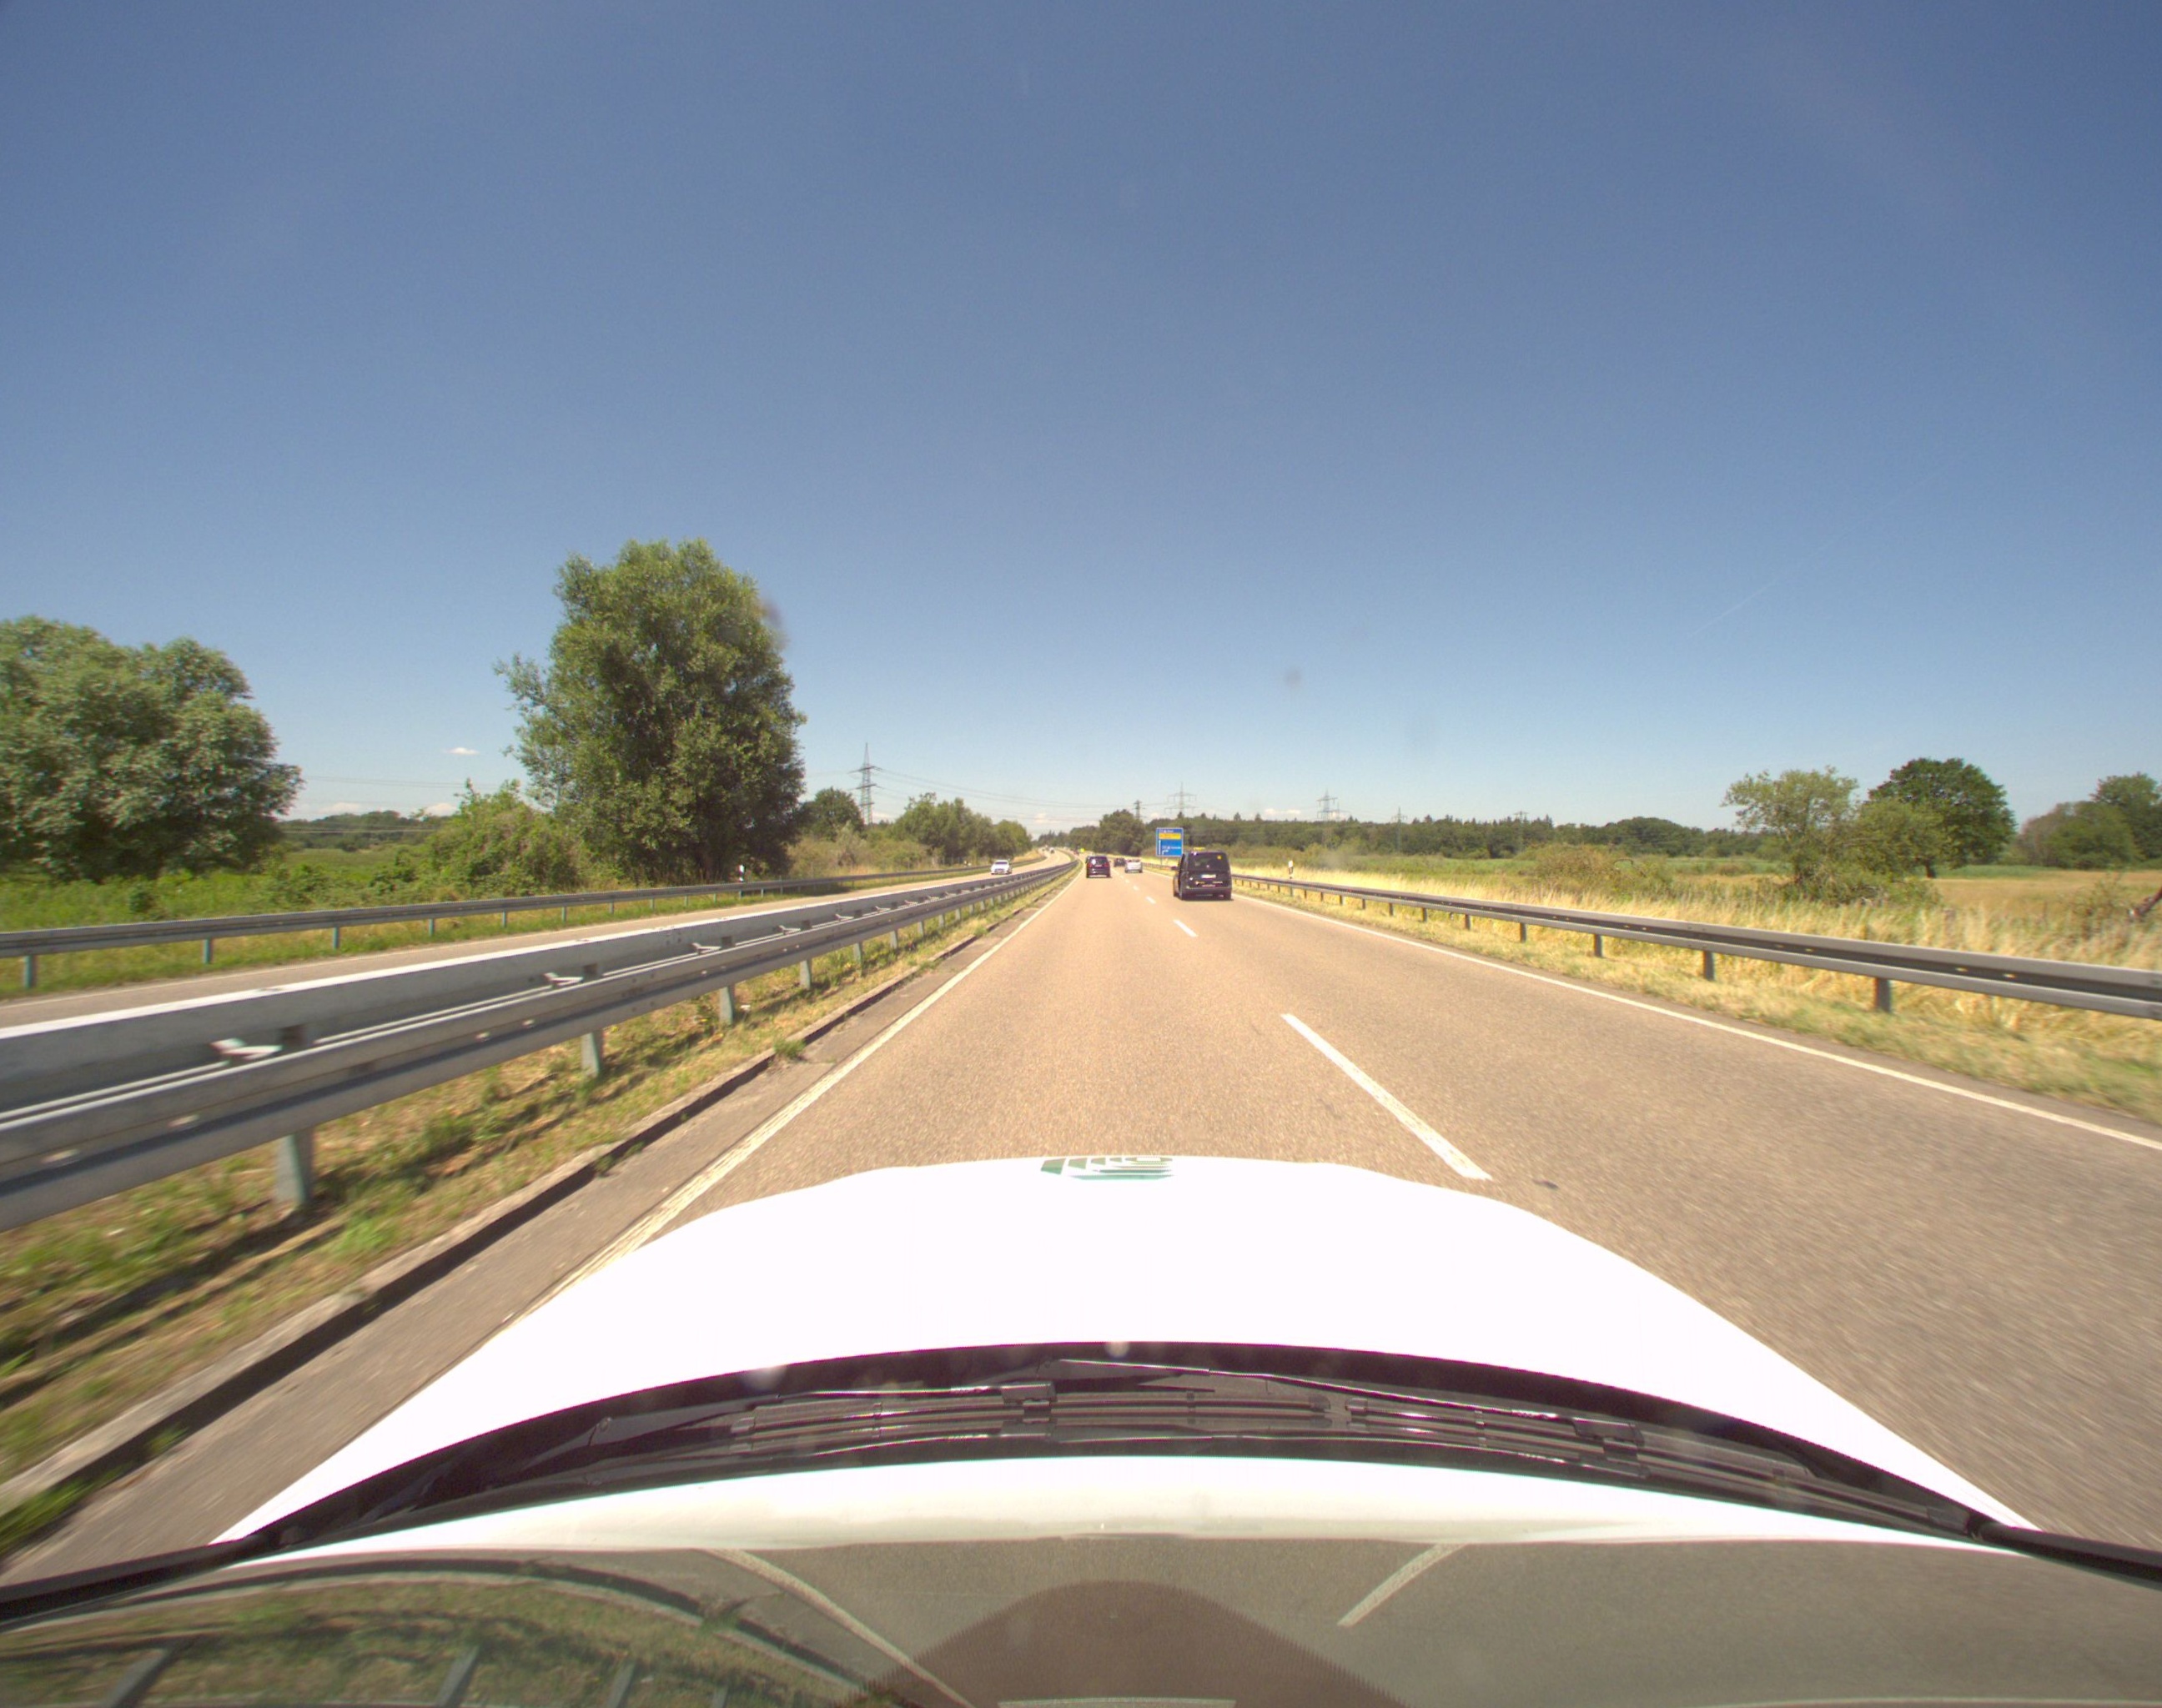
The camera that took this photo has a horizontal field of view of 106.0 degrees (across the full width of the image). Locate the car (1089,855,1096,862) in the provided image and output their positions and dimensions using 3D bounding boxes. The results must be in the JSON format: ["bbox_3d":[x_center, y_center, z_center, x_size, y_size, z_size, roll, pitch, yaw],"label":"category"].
[{"bbox_3d":[2.503,1.090,183.714,1.509,1.475,3.066,2,0,1],"label":"car"}]

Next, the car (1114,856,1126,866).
[{"bbox_3d":[5.797,1.042,121.644,1.812,1.414,4.002,-1,0,2],"label":"car"}]

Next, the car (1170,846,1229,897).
[{"bbox_3d":[4.461,0.610,31.194,1.773,1.817,4.214,0,0,1],"label":"car"}]

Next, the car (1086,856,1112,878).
[{"bbox_3d":[1.430,1.039,64.559,1.987,1.654,4.000,1,0,1],"label":"car"}]

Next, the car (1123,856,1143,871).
[{"bbox_3d":[5.223,0.958,82.391,1.773,1.479,4.315,1,0,1],"label":"car"}]

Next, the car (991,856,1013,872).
[{"bbox_3d":[-8.115,1.013,83.833,1.821,1.497,4.103,1,0,1],"label":"car"}]
